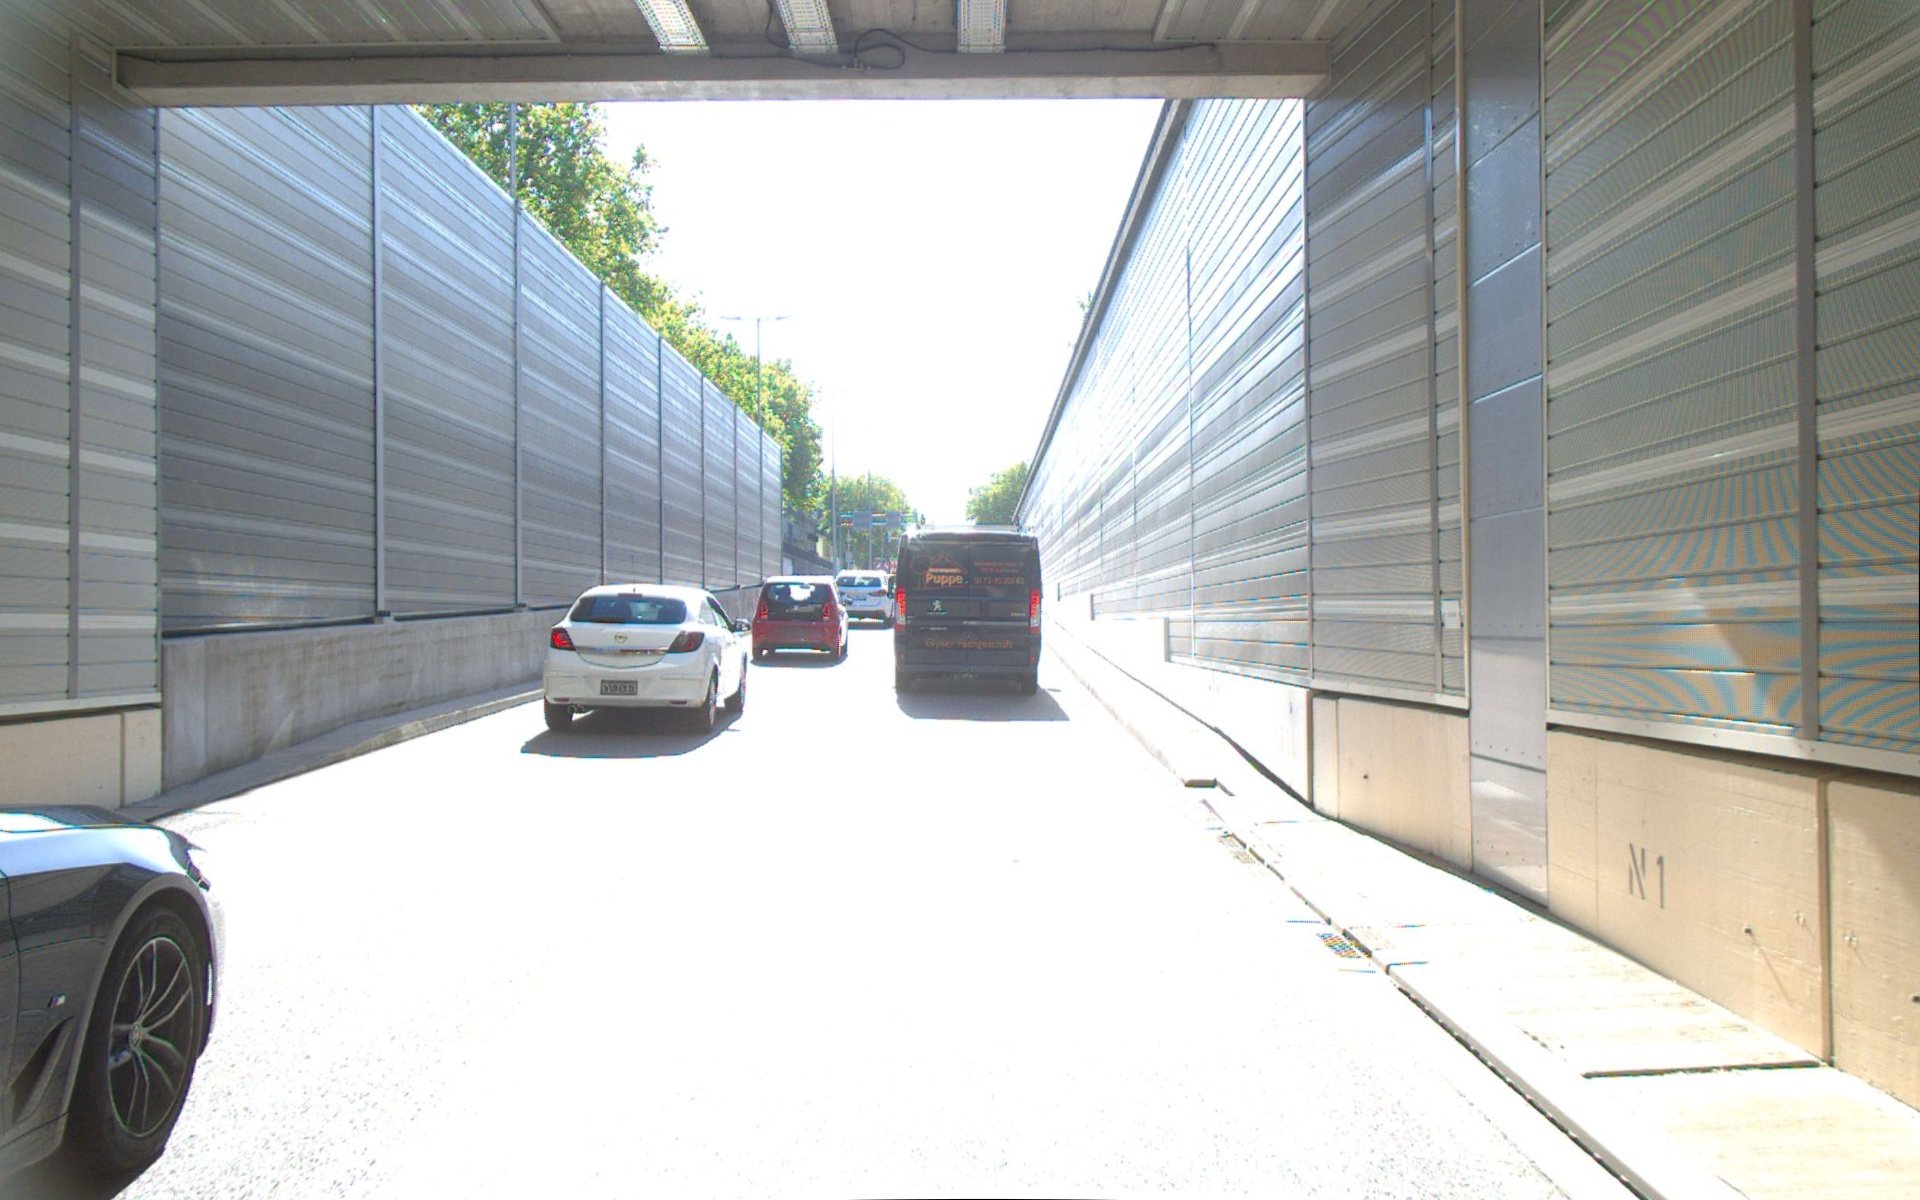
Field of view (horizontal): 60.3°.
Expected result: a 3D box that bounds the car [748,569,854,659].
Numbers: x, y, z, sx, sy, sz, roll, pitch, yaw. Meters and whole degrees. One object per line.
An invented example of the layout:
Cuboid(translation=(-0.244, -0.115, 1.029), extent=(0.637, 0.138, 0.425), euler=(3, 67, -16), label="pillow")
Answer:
Cuboid(translation=(-2.898, 0.214, 30.707), extent=(1.654, 1.509, 3.319), euler=(1, 2, 0), label="car")

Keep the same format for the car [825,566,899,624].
Cuboid(translation=(-2.654, -0.175, 45.661), extent=(1.853, 1.500, 3.991), euler=(1, 2, -1), label="car")

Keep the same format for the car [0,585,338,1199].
Cuboid(translation=(-2.815, 0.690, 2.614), extent=(1.771, 1.464, 5.002), euler=(1, 0, 0), label="car")

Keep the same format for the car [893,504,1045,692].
Cuboid(translation=(0.131, -0.061, 23.608), extent=(1.988, 2.444, 3.973), euler=(0, 1, 0), label="car")

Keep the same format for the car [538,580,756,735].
Cuboid(translation=(-3.222, 0.530, 17.705), extent=(1.586, 1.427, 3.852), euler=(1, 1, 0), label="car")
